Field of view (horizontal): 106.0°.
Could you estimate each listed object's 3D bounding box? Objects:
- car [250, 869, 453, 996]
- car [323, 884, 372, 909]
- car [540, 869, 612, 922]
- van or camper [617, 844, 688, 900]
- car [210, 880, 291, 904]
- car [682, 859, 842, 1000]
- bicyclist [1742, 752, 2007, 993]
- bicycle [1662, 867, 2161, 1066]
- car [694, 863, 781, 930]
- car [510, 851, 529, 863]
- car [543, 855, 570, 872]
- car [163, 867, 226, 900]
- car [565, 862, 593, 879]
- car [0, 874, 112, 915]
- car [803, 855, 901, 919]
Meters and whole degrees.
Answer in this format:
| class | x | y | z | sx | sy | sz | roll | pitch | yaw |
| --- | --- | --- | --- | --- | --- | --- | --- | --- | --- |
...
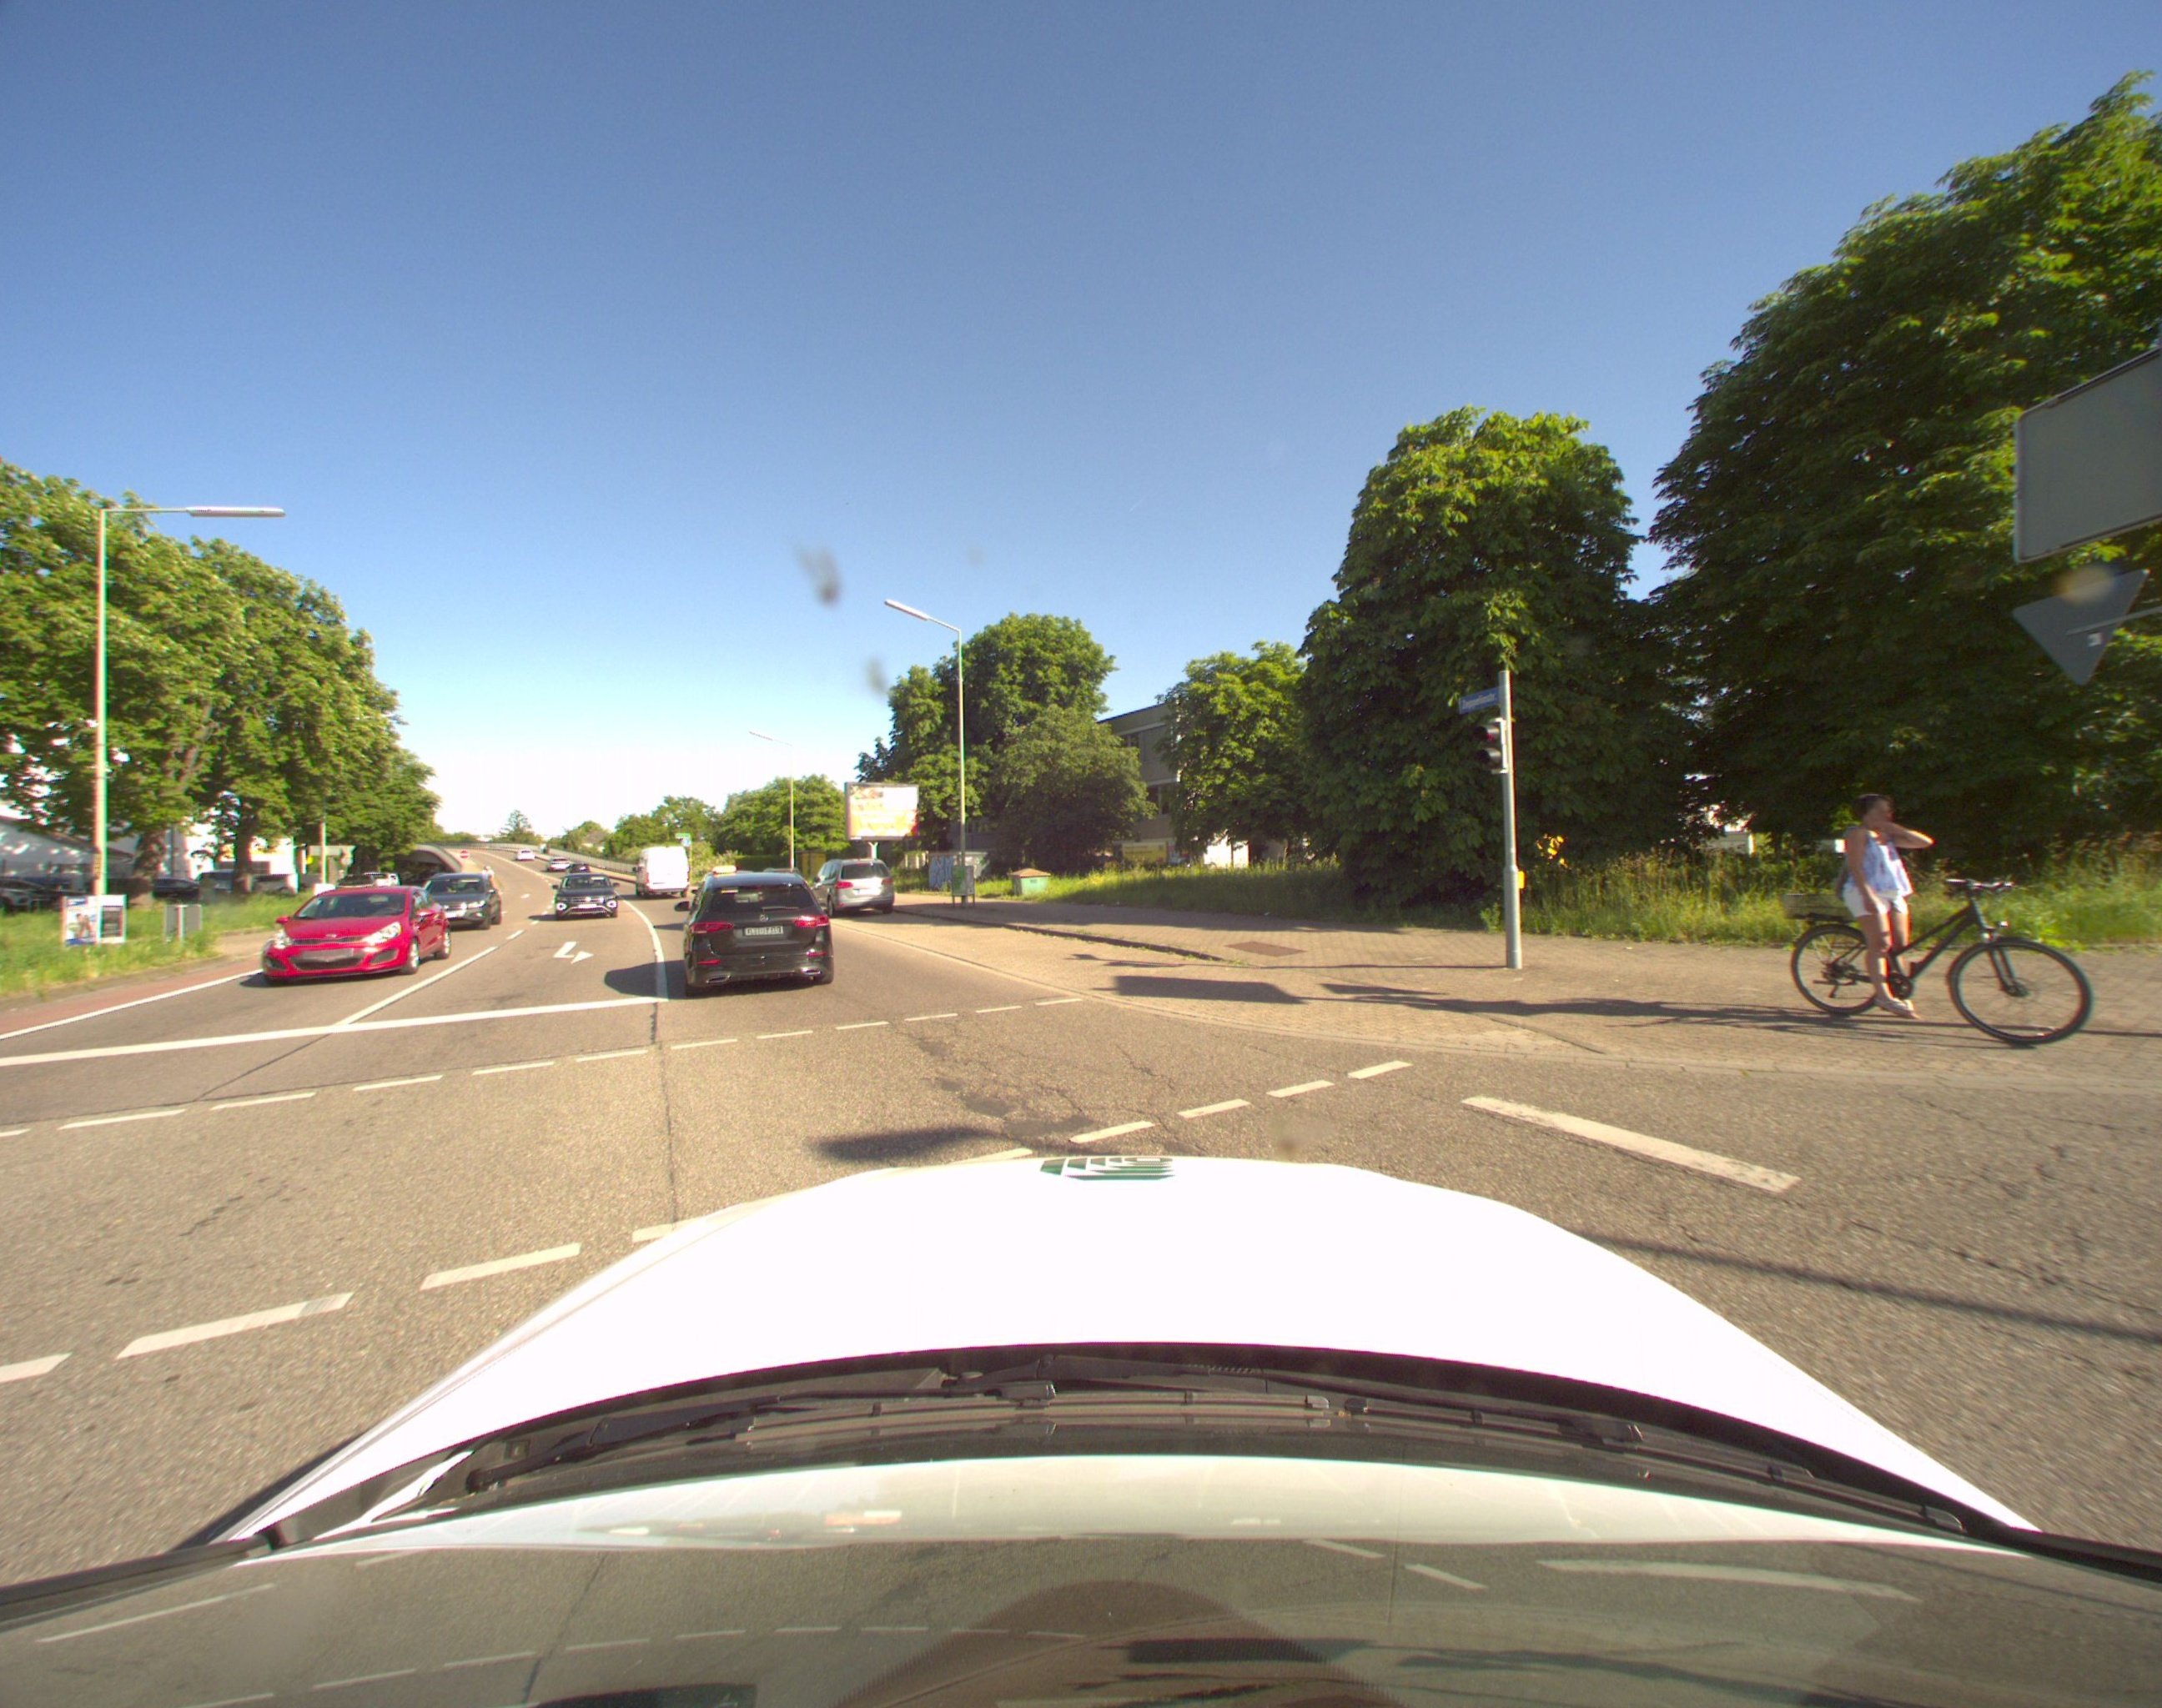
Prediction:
| class | x | y | z | sx | sy | sz | roll | pitch | yaw |
| --- | --- | --- | --- | --- | --- | --- | --- | --- | --- |
| car | -12.239 | 1.173 | 13.982 | 1.865 | 1.736 | 4.227 | -1 | 0 | -32 |
| car | -48.857 | 2.802 | 54.356 | 2.054 | 1.464 | 4.905 | -1 | -1 | -38 |
| car | -17.140 | 1.359 | 27.689 | 1.926 | 1.599 | 3.959 | -1 | -1 | -32 |
| van or camper | -22.755 | 0.880 | 43.087 | 2.244 | 2.739 | 7.001 | 0 | 0 | -37 |
| car | -59.442 | 2.675 | 58.330 | 1.763 | 1.510 | 3.691 | -1 | 0 | 25 |
| car | -4.637 | 0.905 | 11.510 | 1.779 | 1.593 | 3.955 | -1 | -1 | -26 |
| bicyclist | 6.128 | 0.129 | 6.379 | 0.889 | 1.693 | 1.186 | 0 | 0 | -9 |
| bicycle | 6.146 | 0.681 | 6.302 | 0.900 | 1.125 | 2.944 | 0 | 0 | -9 |
| car | -9.328 | 1.105 | 22.388 | 1.809 | 1.640 | 3.976 | -1 | -1 | -18 |
| car | -72.501 | 0.348 | 105.185 | 1.892 | 1.543 | 3.955 | 0 | 0 | -37 |
| car | -55.213 | 1.000 | 85.753 | 2.005 | 1.680 | 3.963 | -2 | 0 | -28 |
| car | -55.124 | 1.817 | 50.731 | 1.761 | 1.930 | 5.045 | -1 | -1 | -37 |
| car | -46.092 | 1.533 | 74.839 | 1.930 | 1.488 | 4.230 | -2 | 0 | -29 |
| car | -43.752 | 1.664 | 33.781 | 1.790 | 1.575 | 4.437 | -1 | 0 | 35 |
| car | -7.310 | 0.991 | 25.676 | 1.885 | 1.722 | 4.568 | -3 | 0 | -30 |
